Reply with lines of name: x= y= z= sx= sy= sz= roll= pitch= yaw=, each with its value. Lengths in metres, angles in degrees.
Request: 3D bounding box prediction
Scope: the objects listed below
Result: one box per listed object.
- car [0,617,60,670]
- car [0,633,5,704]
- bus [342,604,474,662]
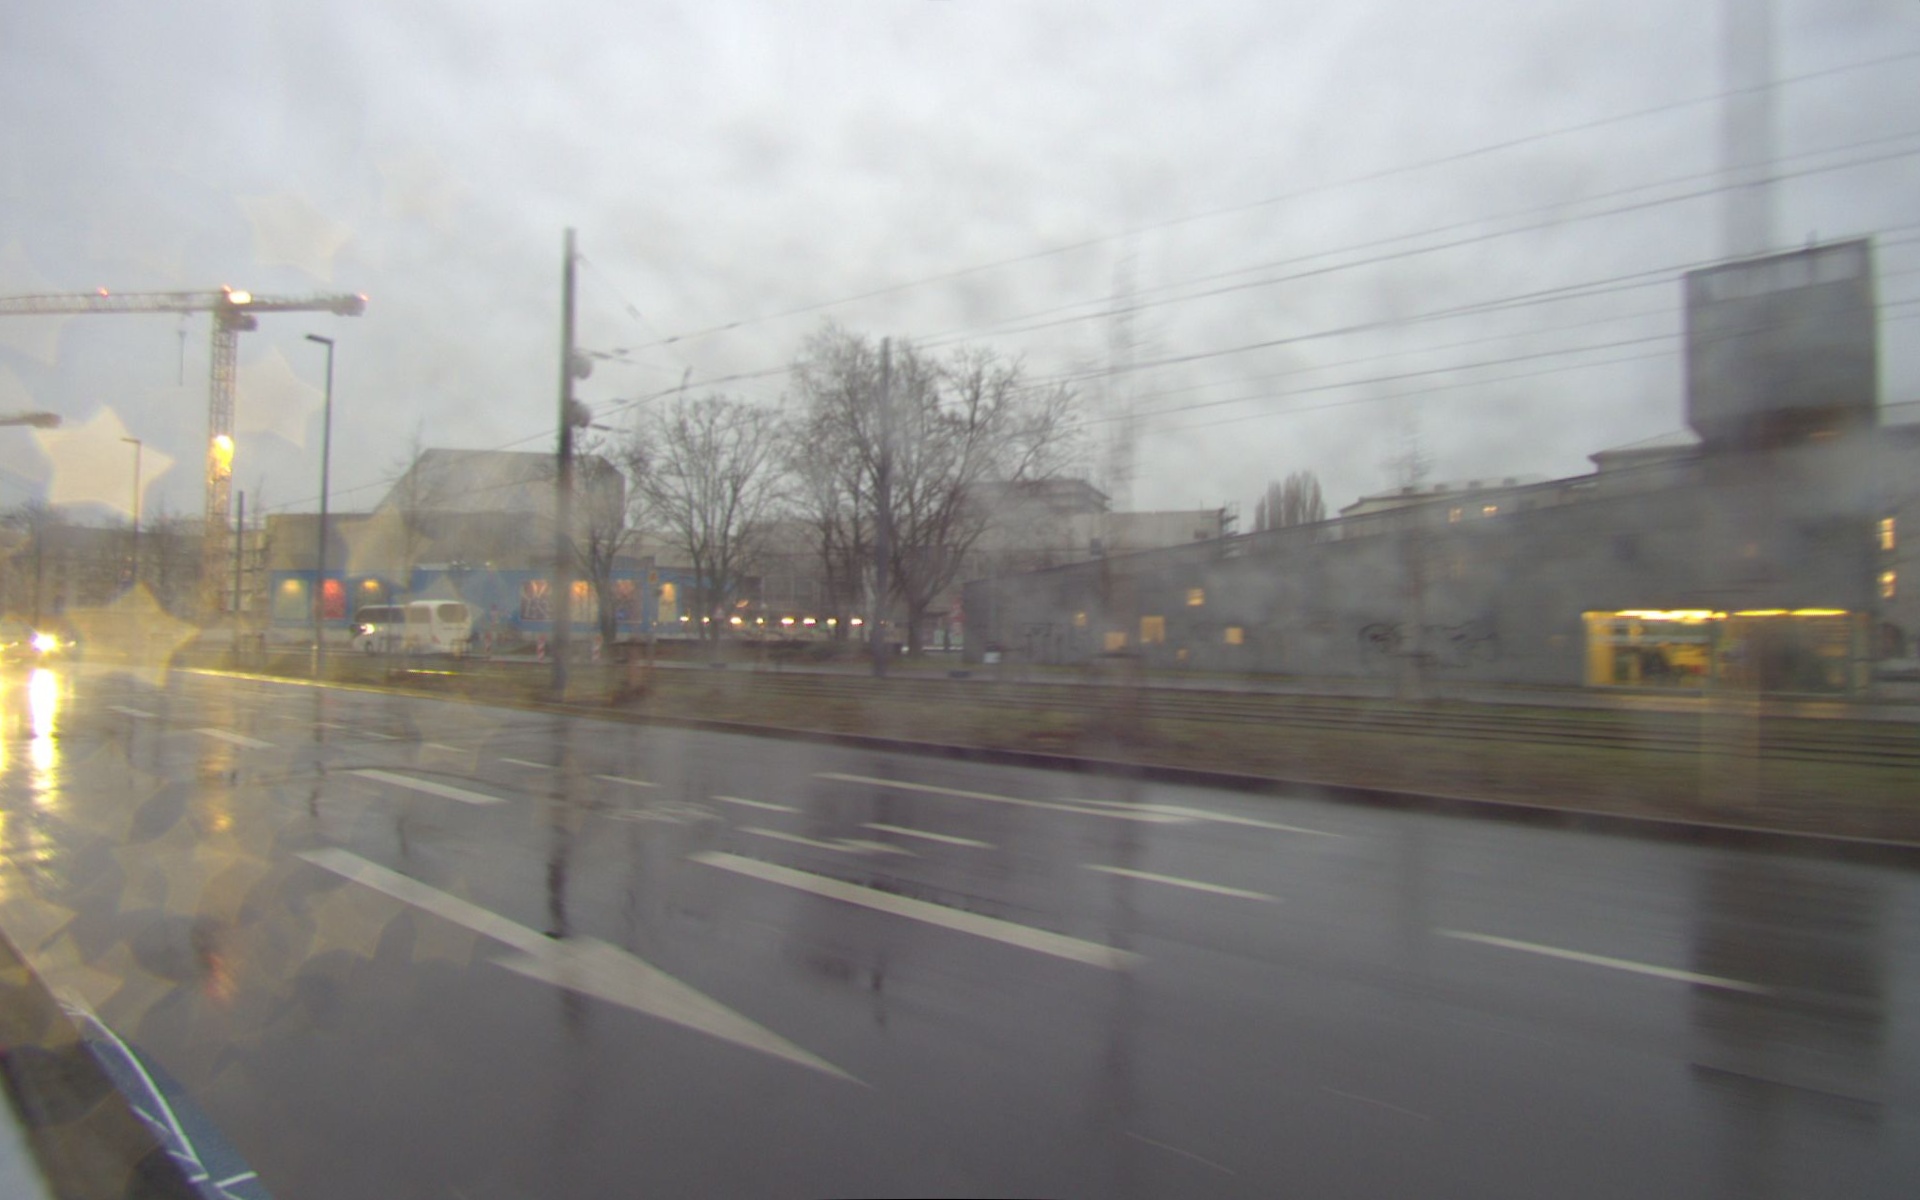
car: x=-33.260 y=1.533 z=35.722 sx=4.611 sy=1.756 sz=1.684 roll=-2 pitch=-3 yaw=42
car: x=-22.354 y=1.482 z=22.030 sx=4.126 sy=1.486 sz=1.756 roll=-2 pitch=-2 yaw=40
bus: x=-37.183 y=2.217 z=67.919 sx=12.283 sy=3.605 sz=2.781 roll=-1 pitch=-3 yaw=37
